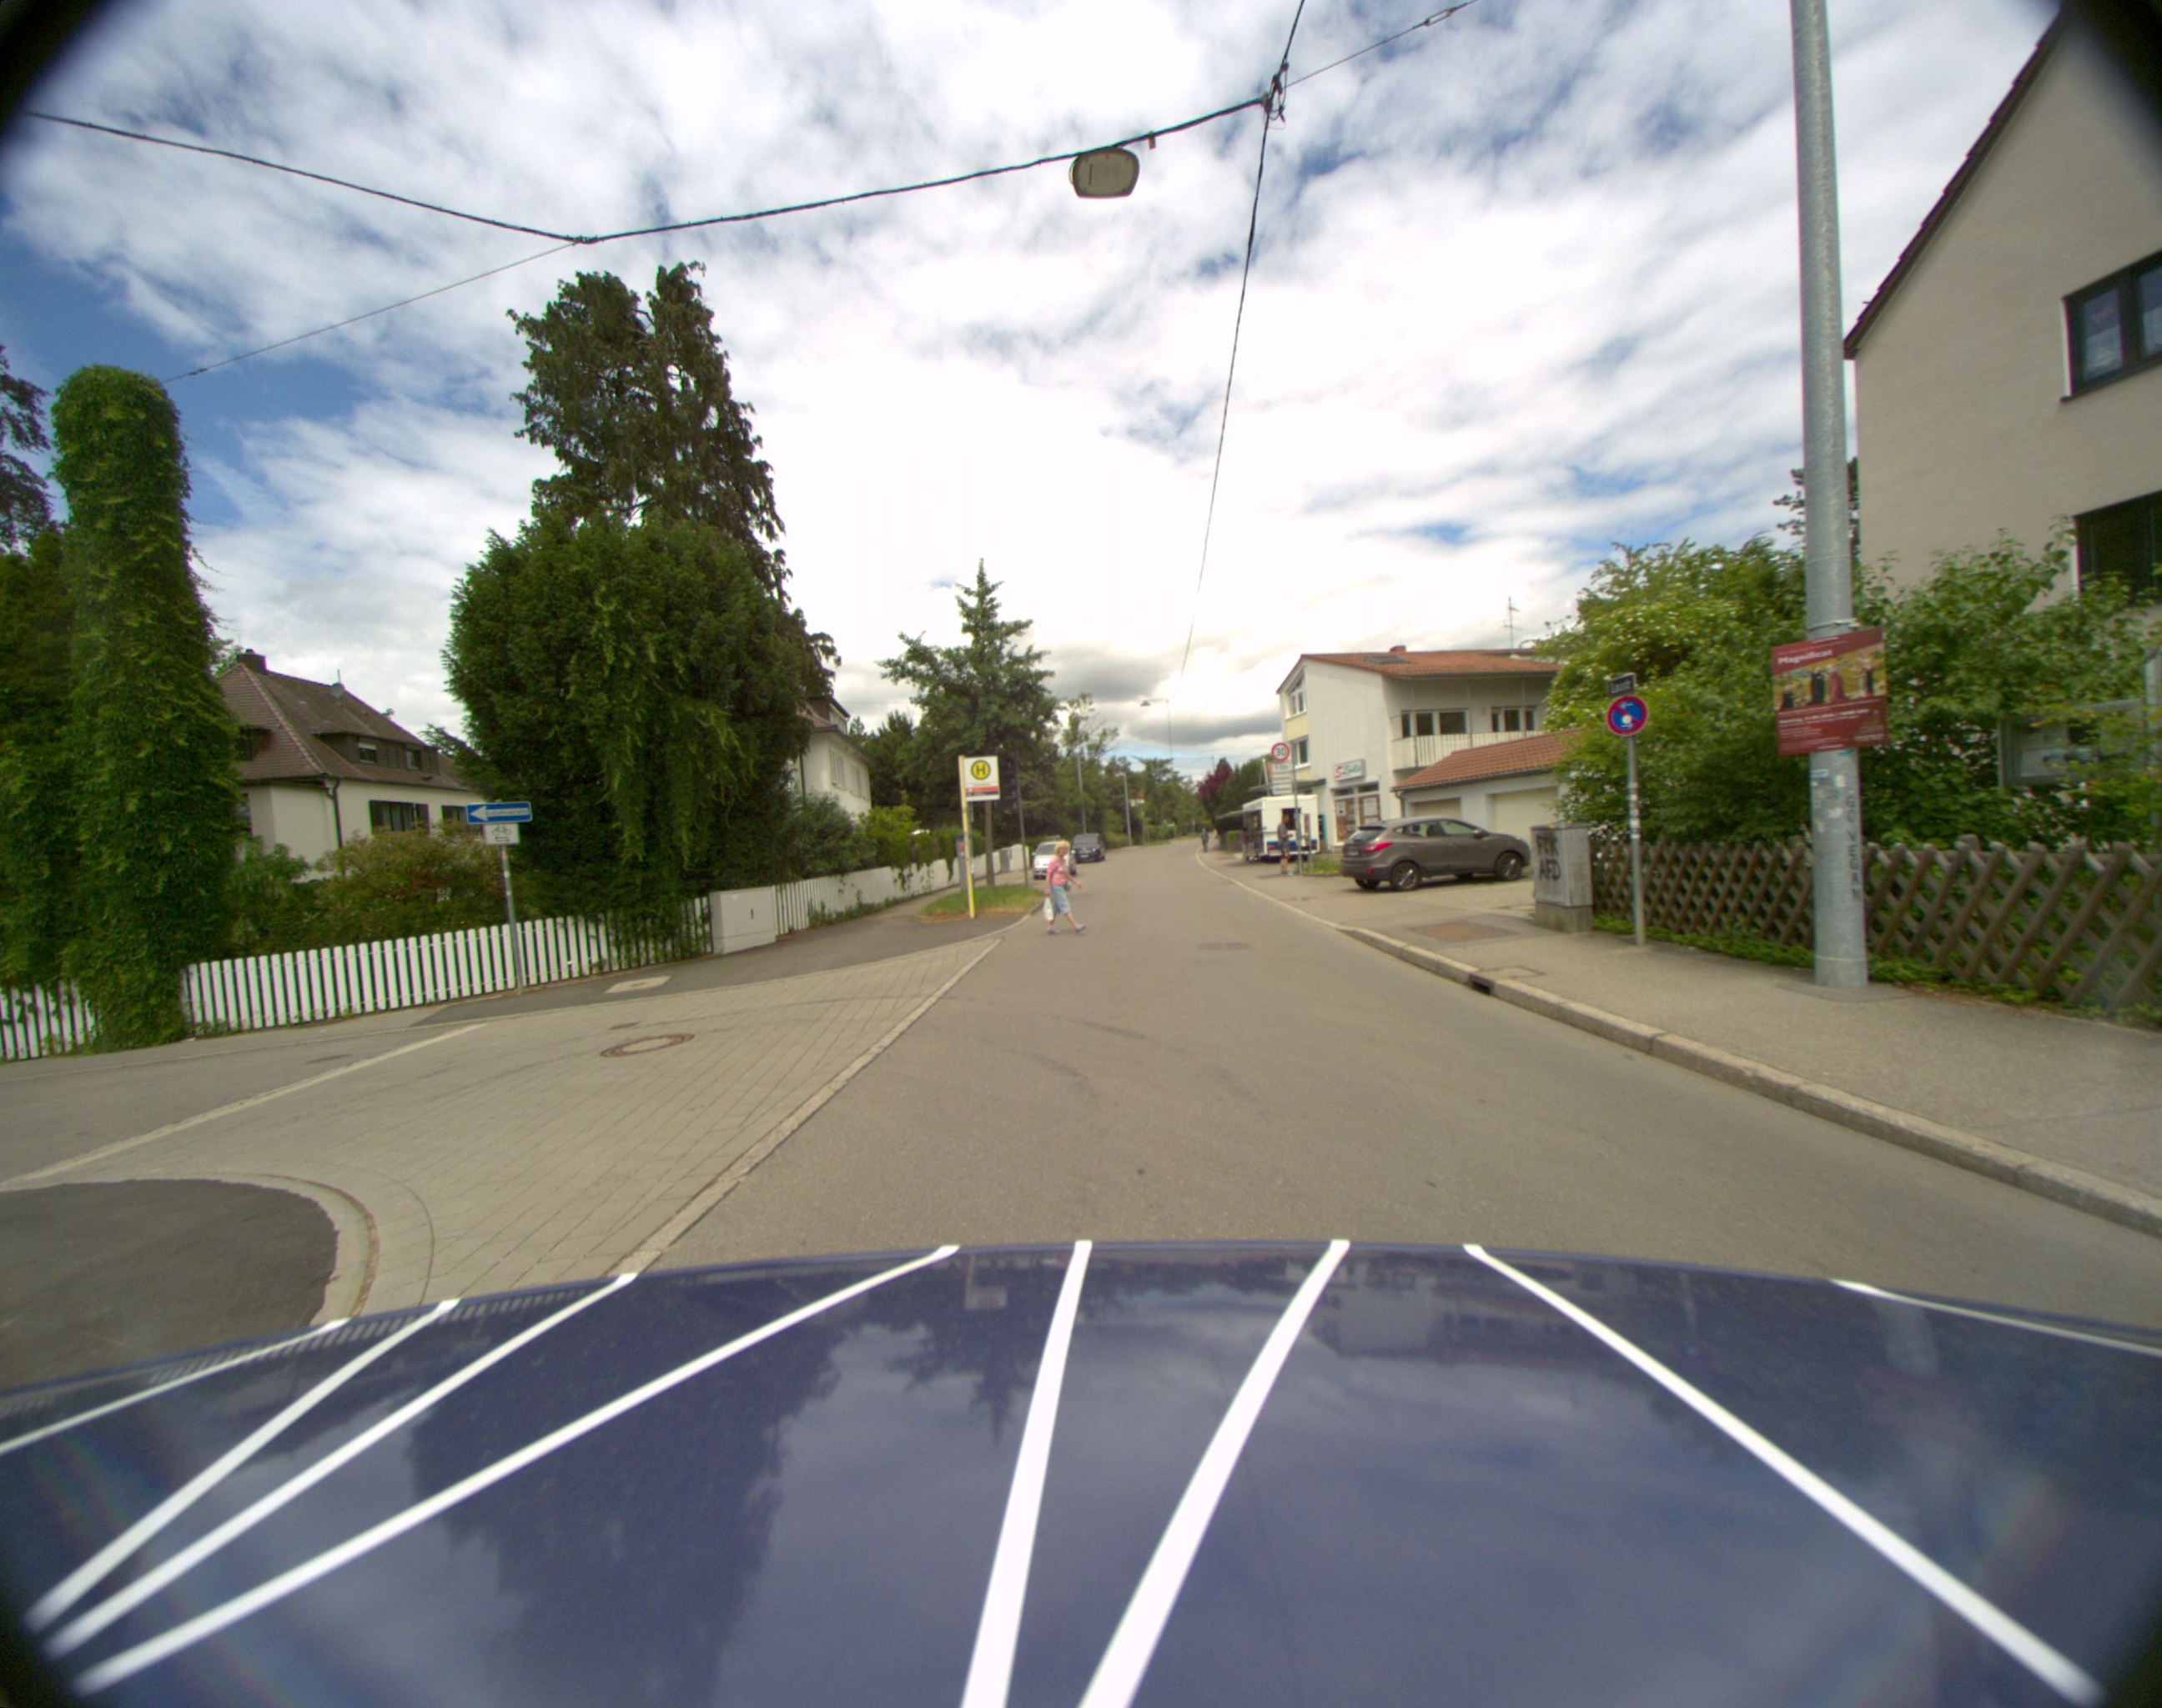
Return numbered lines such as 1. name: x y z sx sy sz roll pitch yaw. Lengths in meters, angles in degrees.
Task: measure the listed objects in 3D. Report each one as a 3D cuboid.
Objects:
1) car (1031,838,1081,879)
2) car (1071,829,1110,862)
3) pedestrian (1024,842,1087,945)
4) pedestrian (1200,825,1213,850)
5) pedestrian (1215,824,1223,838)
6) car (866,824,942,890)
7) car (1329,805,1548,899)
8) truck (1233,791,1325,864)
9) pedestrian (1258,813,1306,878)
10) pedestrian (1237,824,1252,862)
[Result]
1. car: -1.041 0.131 33.647 1.763 1.573 4.018 -2 2 4
2. car: 0.681 -0.609 50.108 1.913 1.838 5.158 -4 2 7
3. pedestrian: -0.424 0.662 13.136 0.856 1.636 0.884 -5 2 5
4. pedestrian: 9.106 -1.205 55.279 0.724 1.679 1.108 -6 6 7
5. pedestrian: 18.650 -3.126 102.722 0.821 1.735 0.604 -6 2 13
6. car: -8.259 0.077 36.027 2.504 2.667 5.182 -6 2 -4
7. car: 8.449 -0.074 18.133 4.324 1.686 1.796 -6 2 -7
8. truck: 8.880 -1.208 34.823 2.479 2.825 6.706 -4 2 2
9. pedestrian: 6.372 -0.271 24.170 1.216 1.935 0.735 -6 2 7
10. pedestrian: 7.406 -0.491 34.443 0.402 1.685 0.597 -6 2 2
